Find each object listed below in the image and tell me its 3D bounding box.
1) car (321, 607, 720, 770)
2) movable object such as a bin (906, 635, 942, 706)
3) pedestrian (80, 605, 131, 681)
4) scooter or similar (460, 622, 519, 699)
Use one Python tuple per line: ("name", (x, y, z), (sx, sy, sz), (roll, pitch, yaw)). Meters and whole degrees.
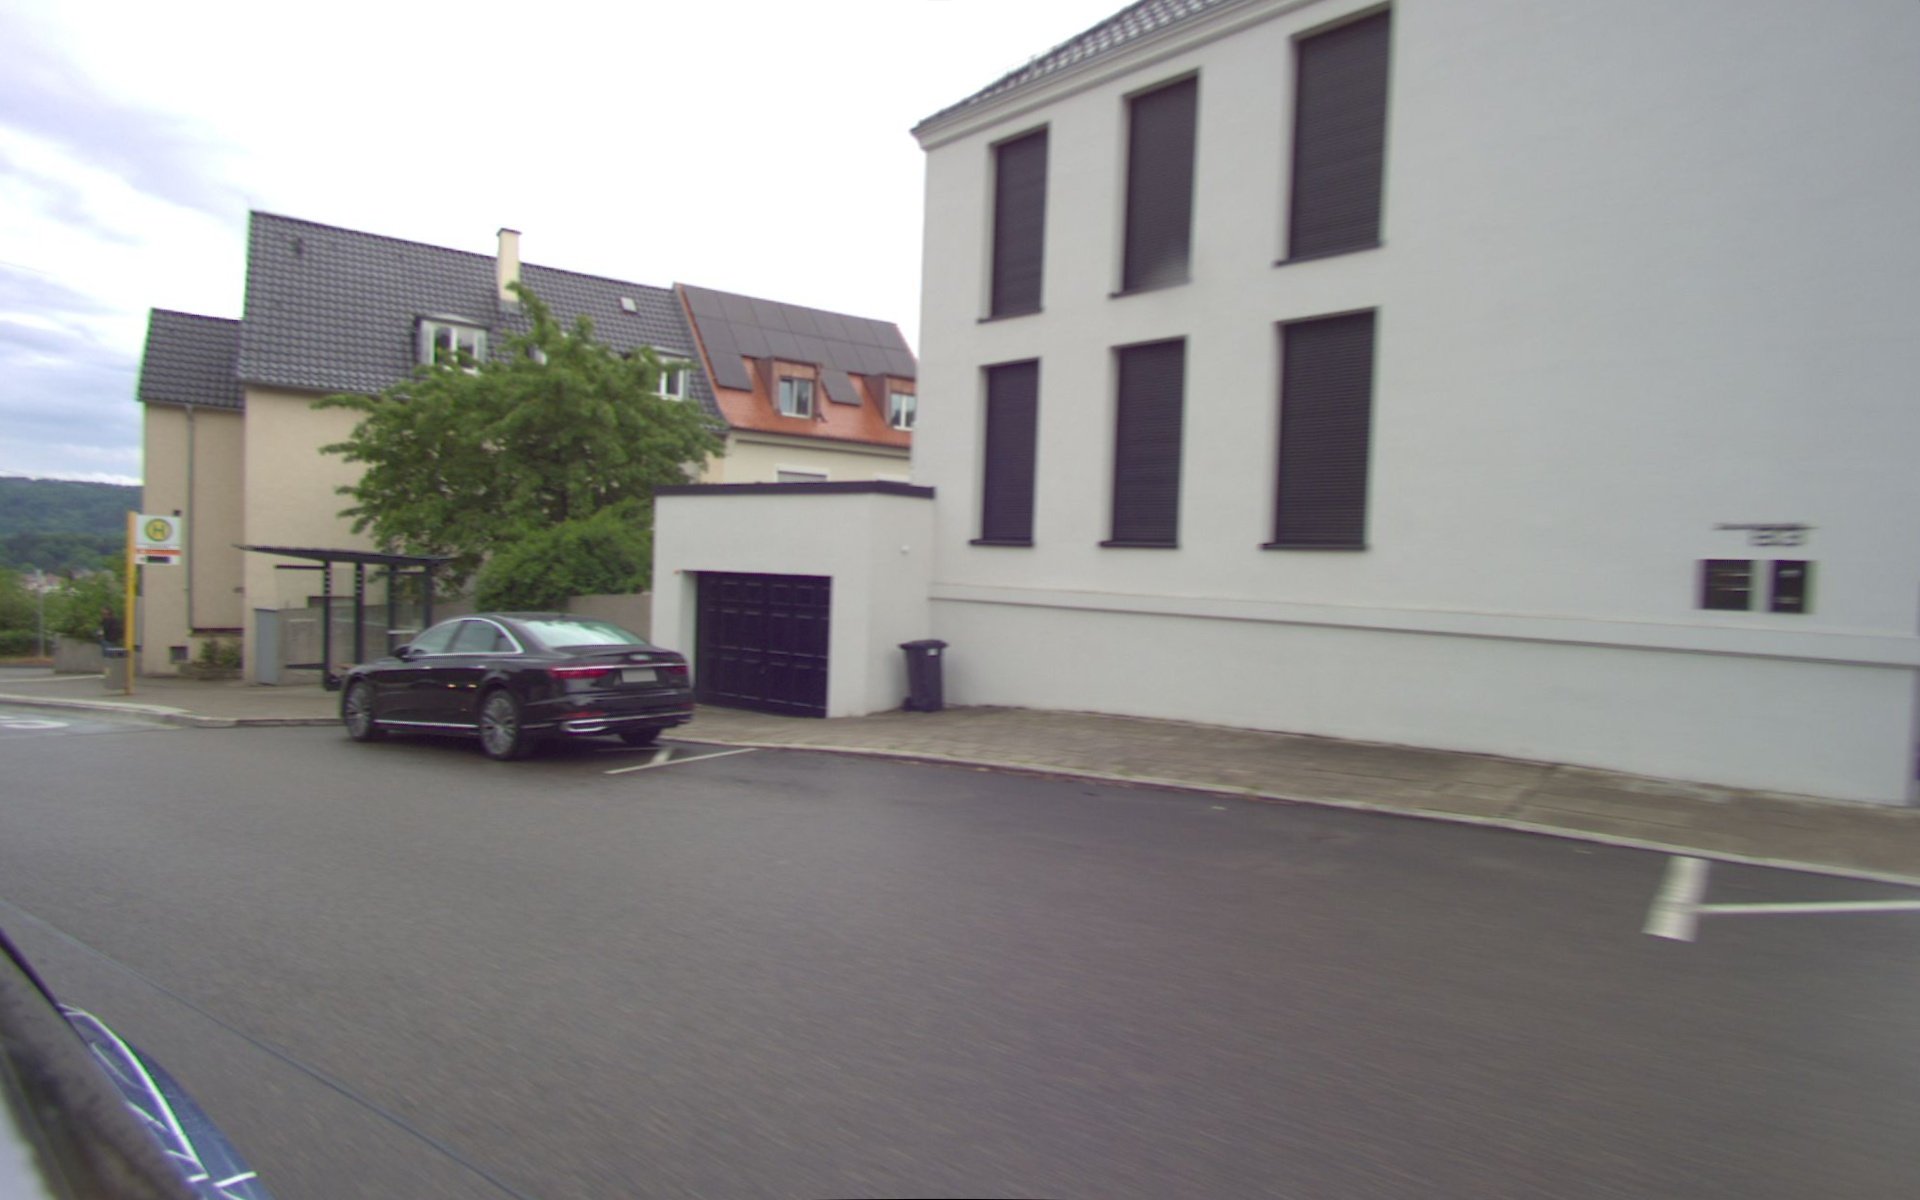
("car", (-5.125, 0.865, 11.489), (4.978, 1.497, 1.813), (-1, -1, 35))
("movable object such as a bin", (-0.481, 0.935, 13.534), (0.365, 0.919, 0.283), (2, -3, -42))
("pedestrian", (-21.596, 1.070, 25.585), (0.726, 1.871, 0.780), (-1, 1, 33))
("scooter or similar", (-7.722, 0.976, 16.597), (1.120, 1.229, 0.335), (-1, 0, 34))
